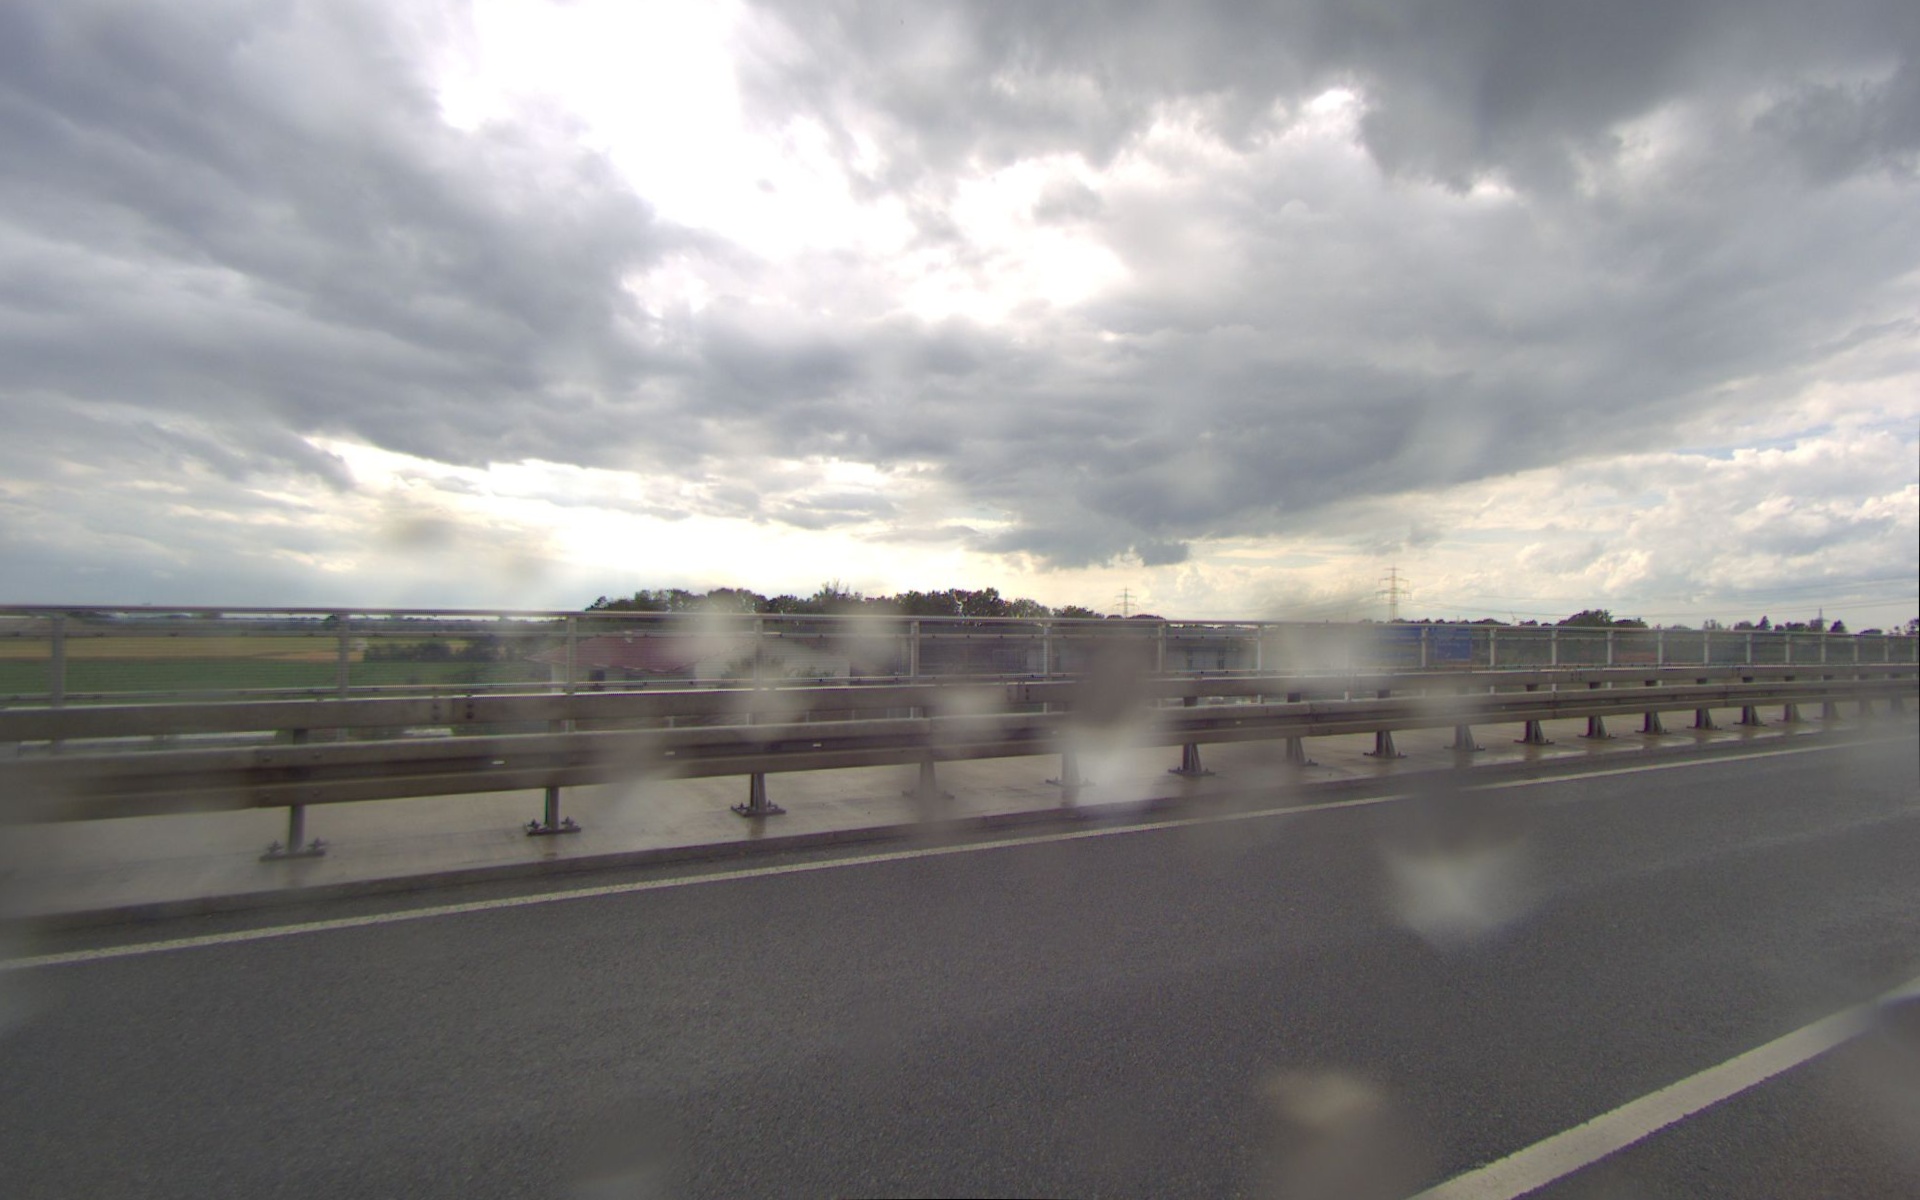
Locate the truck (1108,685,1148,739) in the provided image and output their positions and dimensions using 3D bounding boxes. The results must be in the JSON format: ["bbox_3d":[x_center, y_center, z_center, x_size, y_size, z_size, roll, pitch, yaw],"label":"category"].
[{"bbox_3d":[16.272,10.618,96.608,2.388,4.055,11.174,2,0,16],"label":"truck"}]

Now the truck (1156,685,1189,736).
[{"bbox_3d":[21.695,11.104,102.167,2.388,4.055,11.174,2,0,16],"label":"truck"}]
